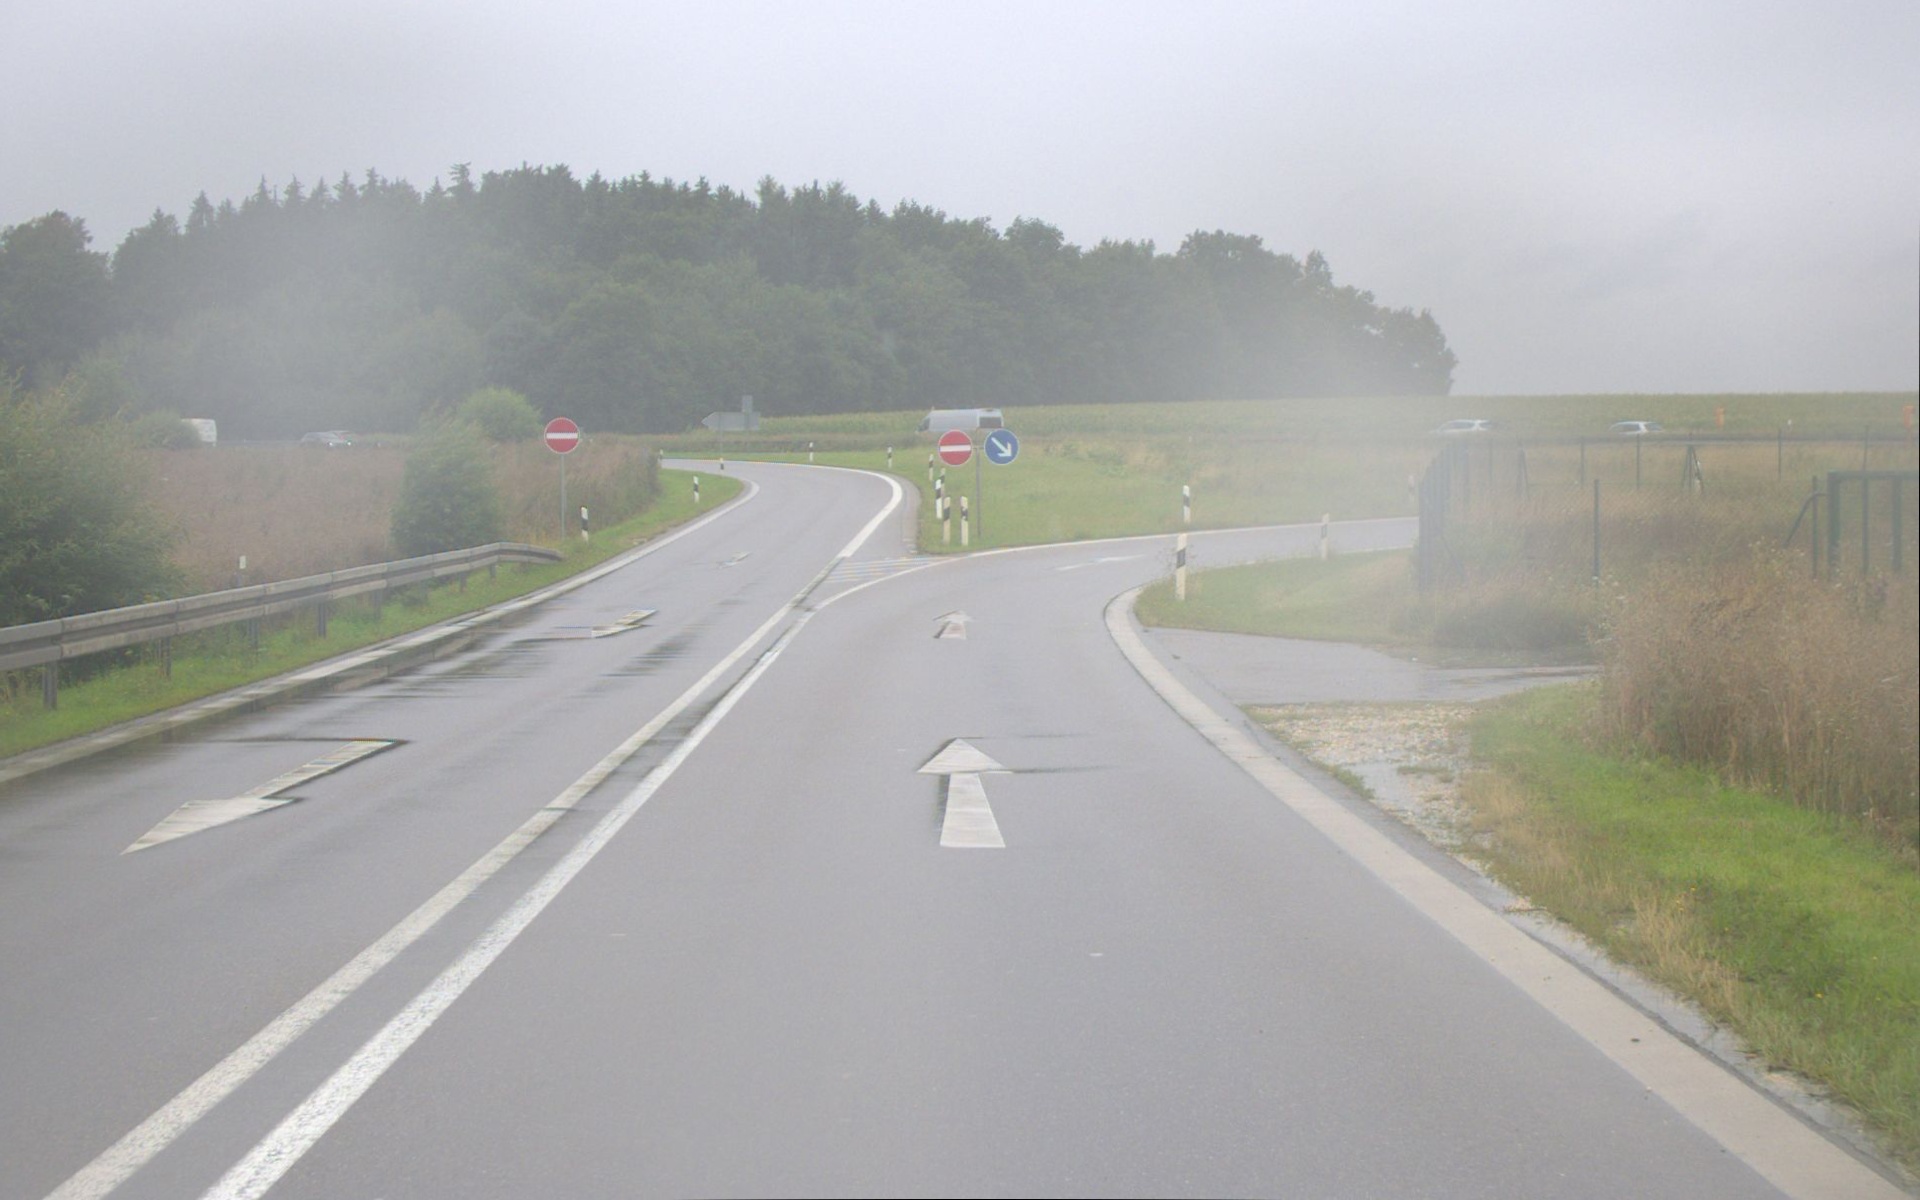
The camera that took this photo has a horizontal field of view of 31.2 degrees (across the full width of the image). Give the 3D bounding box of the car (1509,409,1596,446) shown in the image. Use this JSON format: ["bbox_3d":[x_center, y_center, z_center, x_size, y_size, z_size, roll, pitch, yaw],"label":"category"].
[{"bbox_3d":[29.504,-8.589,171.189,1.731,1.730,3.998,-5,5,-43],"label":"car"}]
